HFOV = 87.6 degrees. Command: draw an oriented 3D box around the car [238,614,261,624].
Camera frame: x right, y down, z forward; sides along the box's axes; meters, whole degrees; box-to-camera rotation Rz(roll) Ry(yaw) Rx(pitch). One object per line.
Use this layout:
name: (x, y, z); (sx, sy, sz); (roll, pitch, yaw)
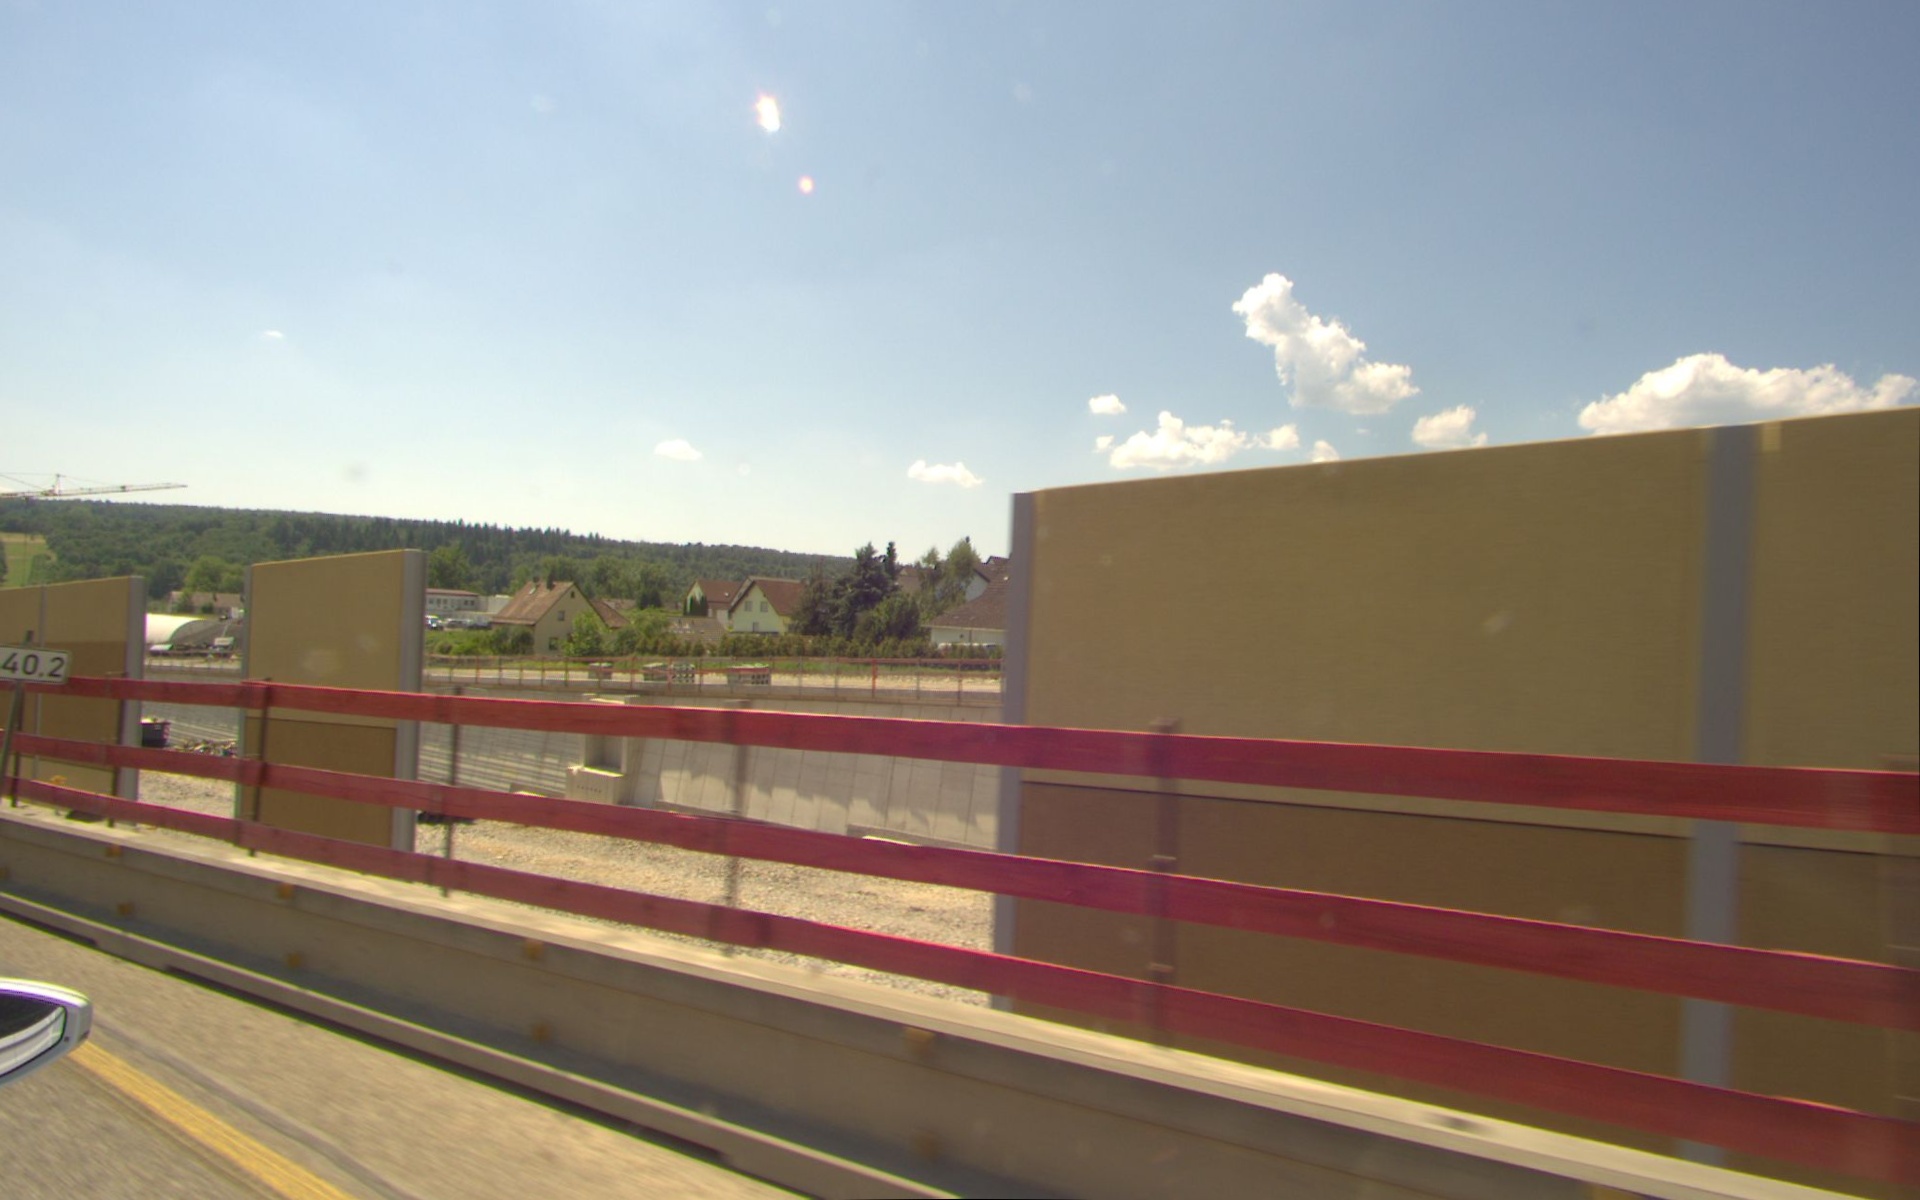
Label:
car: (-98.506, 2.655, 138.857); (3.383, 1.332, 1.511); (-1, -2, 35)

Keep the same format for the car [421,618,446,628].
car: (-81.995, 3.597, 155.910); (4.020, 1.537, 1.677); (-1, -2, 35)

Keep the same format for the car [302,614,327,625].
car: (-93.311, 2.811, 144.704); (4.020, 1.537, 1.677); (-1, -2, 35)
